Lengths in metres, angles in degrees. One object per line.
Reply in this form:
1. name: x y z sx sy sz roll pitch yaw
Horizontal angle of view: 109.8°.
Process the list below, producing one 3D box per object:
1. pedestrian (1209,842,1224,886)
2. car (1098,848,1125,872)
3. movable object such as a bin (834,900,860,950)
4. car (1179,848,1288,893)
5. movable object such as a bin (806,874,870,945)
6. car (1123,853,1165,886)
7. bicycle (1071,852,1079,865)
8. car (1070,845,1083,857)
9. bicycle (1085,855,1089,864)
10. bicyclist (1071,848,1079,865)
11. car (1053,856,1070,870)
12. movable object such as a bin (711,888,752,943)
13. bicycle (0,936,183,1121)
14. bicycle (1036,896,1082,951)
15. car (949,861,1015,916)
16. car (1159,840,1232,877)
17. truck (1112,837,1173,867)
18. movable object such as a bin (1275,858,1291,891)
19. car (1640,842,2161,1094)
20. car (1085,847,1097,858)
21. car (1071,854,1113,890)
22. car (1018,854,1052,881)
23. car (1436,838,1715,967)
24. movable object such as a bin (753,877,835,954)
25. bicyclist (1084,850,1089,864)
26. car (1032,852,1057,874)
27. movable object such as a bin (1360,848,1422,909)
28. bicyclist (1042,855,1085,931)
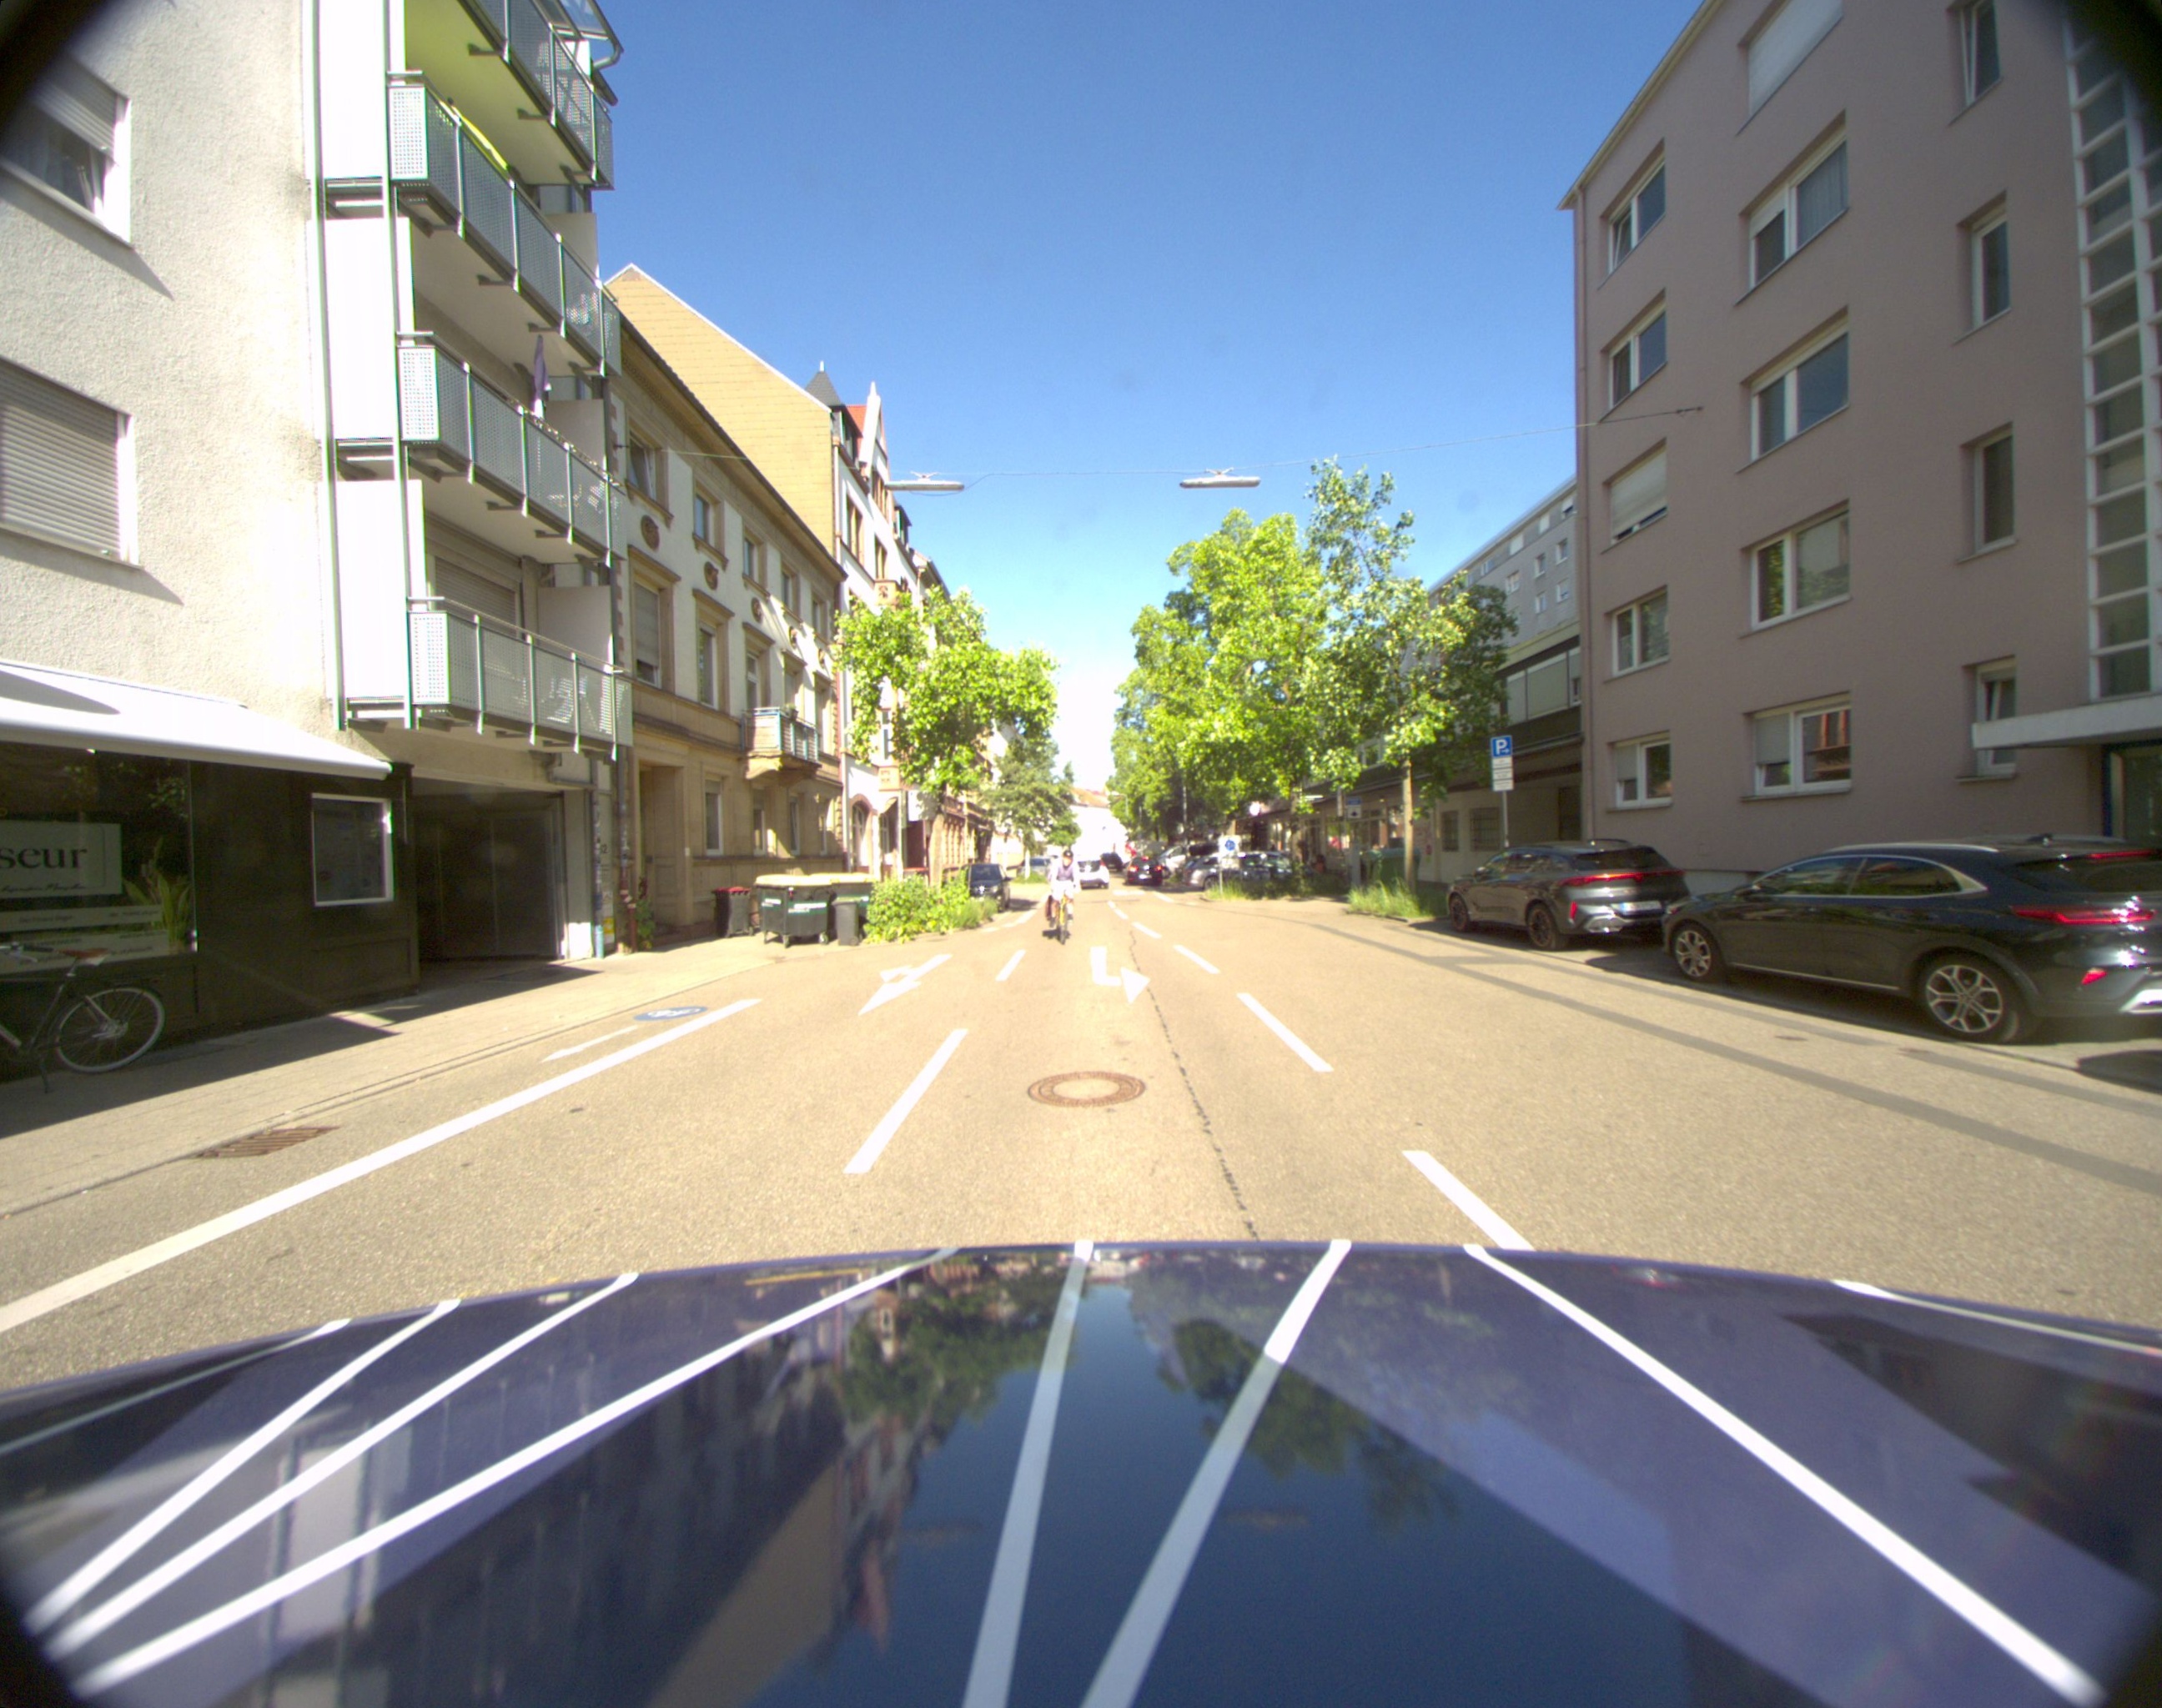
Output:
1. pedestrian: 6.299 0.446 35.300 0.565 2.002 0.753 -1 1 3
2. car: 2.437 0.450 61.778 1.994 1.599 4.259 -3 3 1
3. movable object such as a bin: -4.576 1.381 14.893 0.401 0.916 0.484 0 2 -7
4. car: 6.091 0.632 30.672 3.997 1.665 2.000 -2 1 1
5. movable object such as a bin: -5.083 1.120 15.858 0.960 1.341 1.066 -1 2 -38
6. car: 3.056 0.739 37.609 1.867 1.455 4.000 -2 0 3
7. bicycle: -0.585 0.447 75.674 0.778 1.139 2.259 -3 1 1
8. car: -0.757 -0.504 126.572 1.998 2.002 4.000 -2 0 1
9. bicycle: 0.813 0.738 104.473 0.570 1.139 2.259 -3 1 1
10. bicyclist: -0.593 0.231 75.685 0.748 1.588 0.613 -3 1 1
11. car: -2.181 0.984 85.798 1.653 1.447 3.290 -2 0 1
12. movable object such as a bin: -7.316 1.269 15.897 0.615 1.075 0.568 2 3 42
13. bicycle: -7.744 1.279 5.450 0.402 1.171 1.792 -2 0 1
14. bicycle: -0.438 1.249 14.080 0.612 0.876 1.813 -1 -1 -9
15. car: -2.967 1.010 23.369 1.551 1.483 3.351 -2 0 0
16. car: 6.709 0.261 44.780 3.997 2.020 2.000 -2 1 1
17. truck: 5.801 -0.198 71.705 5.322 2.581 1.998 -2 1 -9
18. movable object such as a bin: 7.622 0.781 28.679 0.488 1.218 0.409 -2 1 1
19. car: 7.518 0.705 6.898 1.821 1.499 4.245 -4 0 2
20. car: 1.524 -0.209 119.839 1.826 1.617 4.000 -2 0 1
21. car: 0.448 0.780 34.759 1.770 1.528 3.785 -2 0 -1
22. car: -2.742 0.762 45.892 1.759 1.492 3.949 -2 0 0
23. car: 7.592 0.644 12.260 1.821 1.583 4.141 -5 0 2
24. movable object such as a bin: -5.586 1.158 14.781 1.212 1.318 1.052 2 3 42
25. bicyclist: 0.795 0.358 104.455 0.578 1.911 0.613 -3 1 1
26. car: -2.629 0.650 55.206 1.653 1.483 3.290 -2 0 0
27. movable object such as a bin: 8.137 0.634 19.996 1.247 1.536 1.019 -2 1 5
28. bicyclist: -0.341 0.698 14.087 0.610 1.338 1.017 -2 0 -11
